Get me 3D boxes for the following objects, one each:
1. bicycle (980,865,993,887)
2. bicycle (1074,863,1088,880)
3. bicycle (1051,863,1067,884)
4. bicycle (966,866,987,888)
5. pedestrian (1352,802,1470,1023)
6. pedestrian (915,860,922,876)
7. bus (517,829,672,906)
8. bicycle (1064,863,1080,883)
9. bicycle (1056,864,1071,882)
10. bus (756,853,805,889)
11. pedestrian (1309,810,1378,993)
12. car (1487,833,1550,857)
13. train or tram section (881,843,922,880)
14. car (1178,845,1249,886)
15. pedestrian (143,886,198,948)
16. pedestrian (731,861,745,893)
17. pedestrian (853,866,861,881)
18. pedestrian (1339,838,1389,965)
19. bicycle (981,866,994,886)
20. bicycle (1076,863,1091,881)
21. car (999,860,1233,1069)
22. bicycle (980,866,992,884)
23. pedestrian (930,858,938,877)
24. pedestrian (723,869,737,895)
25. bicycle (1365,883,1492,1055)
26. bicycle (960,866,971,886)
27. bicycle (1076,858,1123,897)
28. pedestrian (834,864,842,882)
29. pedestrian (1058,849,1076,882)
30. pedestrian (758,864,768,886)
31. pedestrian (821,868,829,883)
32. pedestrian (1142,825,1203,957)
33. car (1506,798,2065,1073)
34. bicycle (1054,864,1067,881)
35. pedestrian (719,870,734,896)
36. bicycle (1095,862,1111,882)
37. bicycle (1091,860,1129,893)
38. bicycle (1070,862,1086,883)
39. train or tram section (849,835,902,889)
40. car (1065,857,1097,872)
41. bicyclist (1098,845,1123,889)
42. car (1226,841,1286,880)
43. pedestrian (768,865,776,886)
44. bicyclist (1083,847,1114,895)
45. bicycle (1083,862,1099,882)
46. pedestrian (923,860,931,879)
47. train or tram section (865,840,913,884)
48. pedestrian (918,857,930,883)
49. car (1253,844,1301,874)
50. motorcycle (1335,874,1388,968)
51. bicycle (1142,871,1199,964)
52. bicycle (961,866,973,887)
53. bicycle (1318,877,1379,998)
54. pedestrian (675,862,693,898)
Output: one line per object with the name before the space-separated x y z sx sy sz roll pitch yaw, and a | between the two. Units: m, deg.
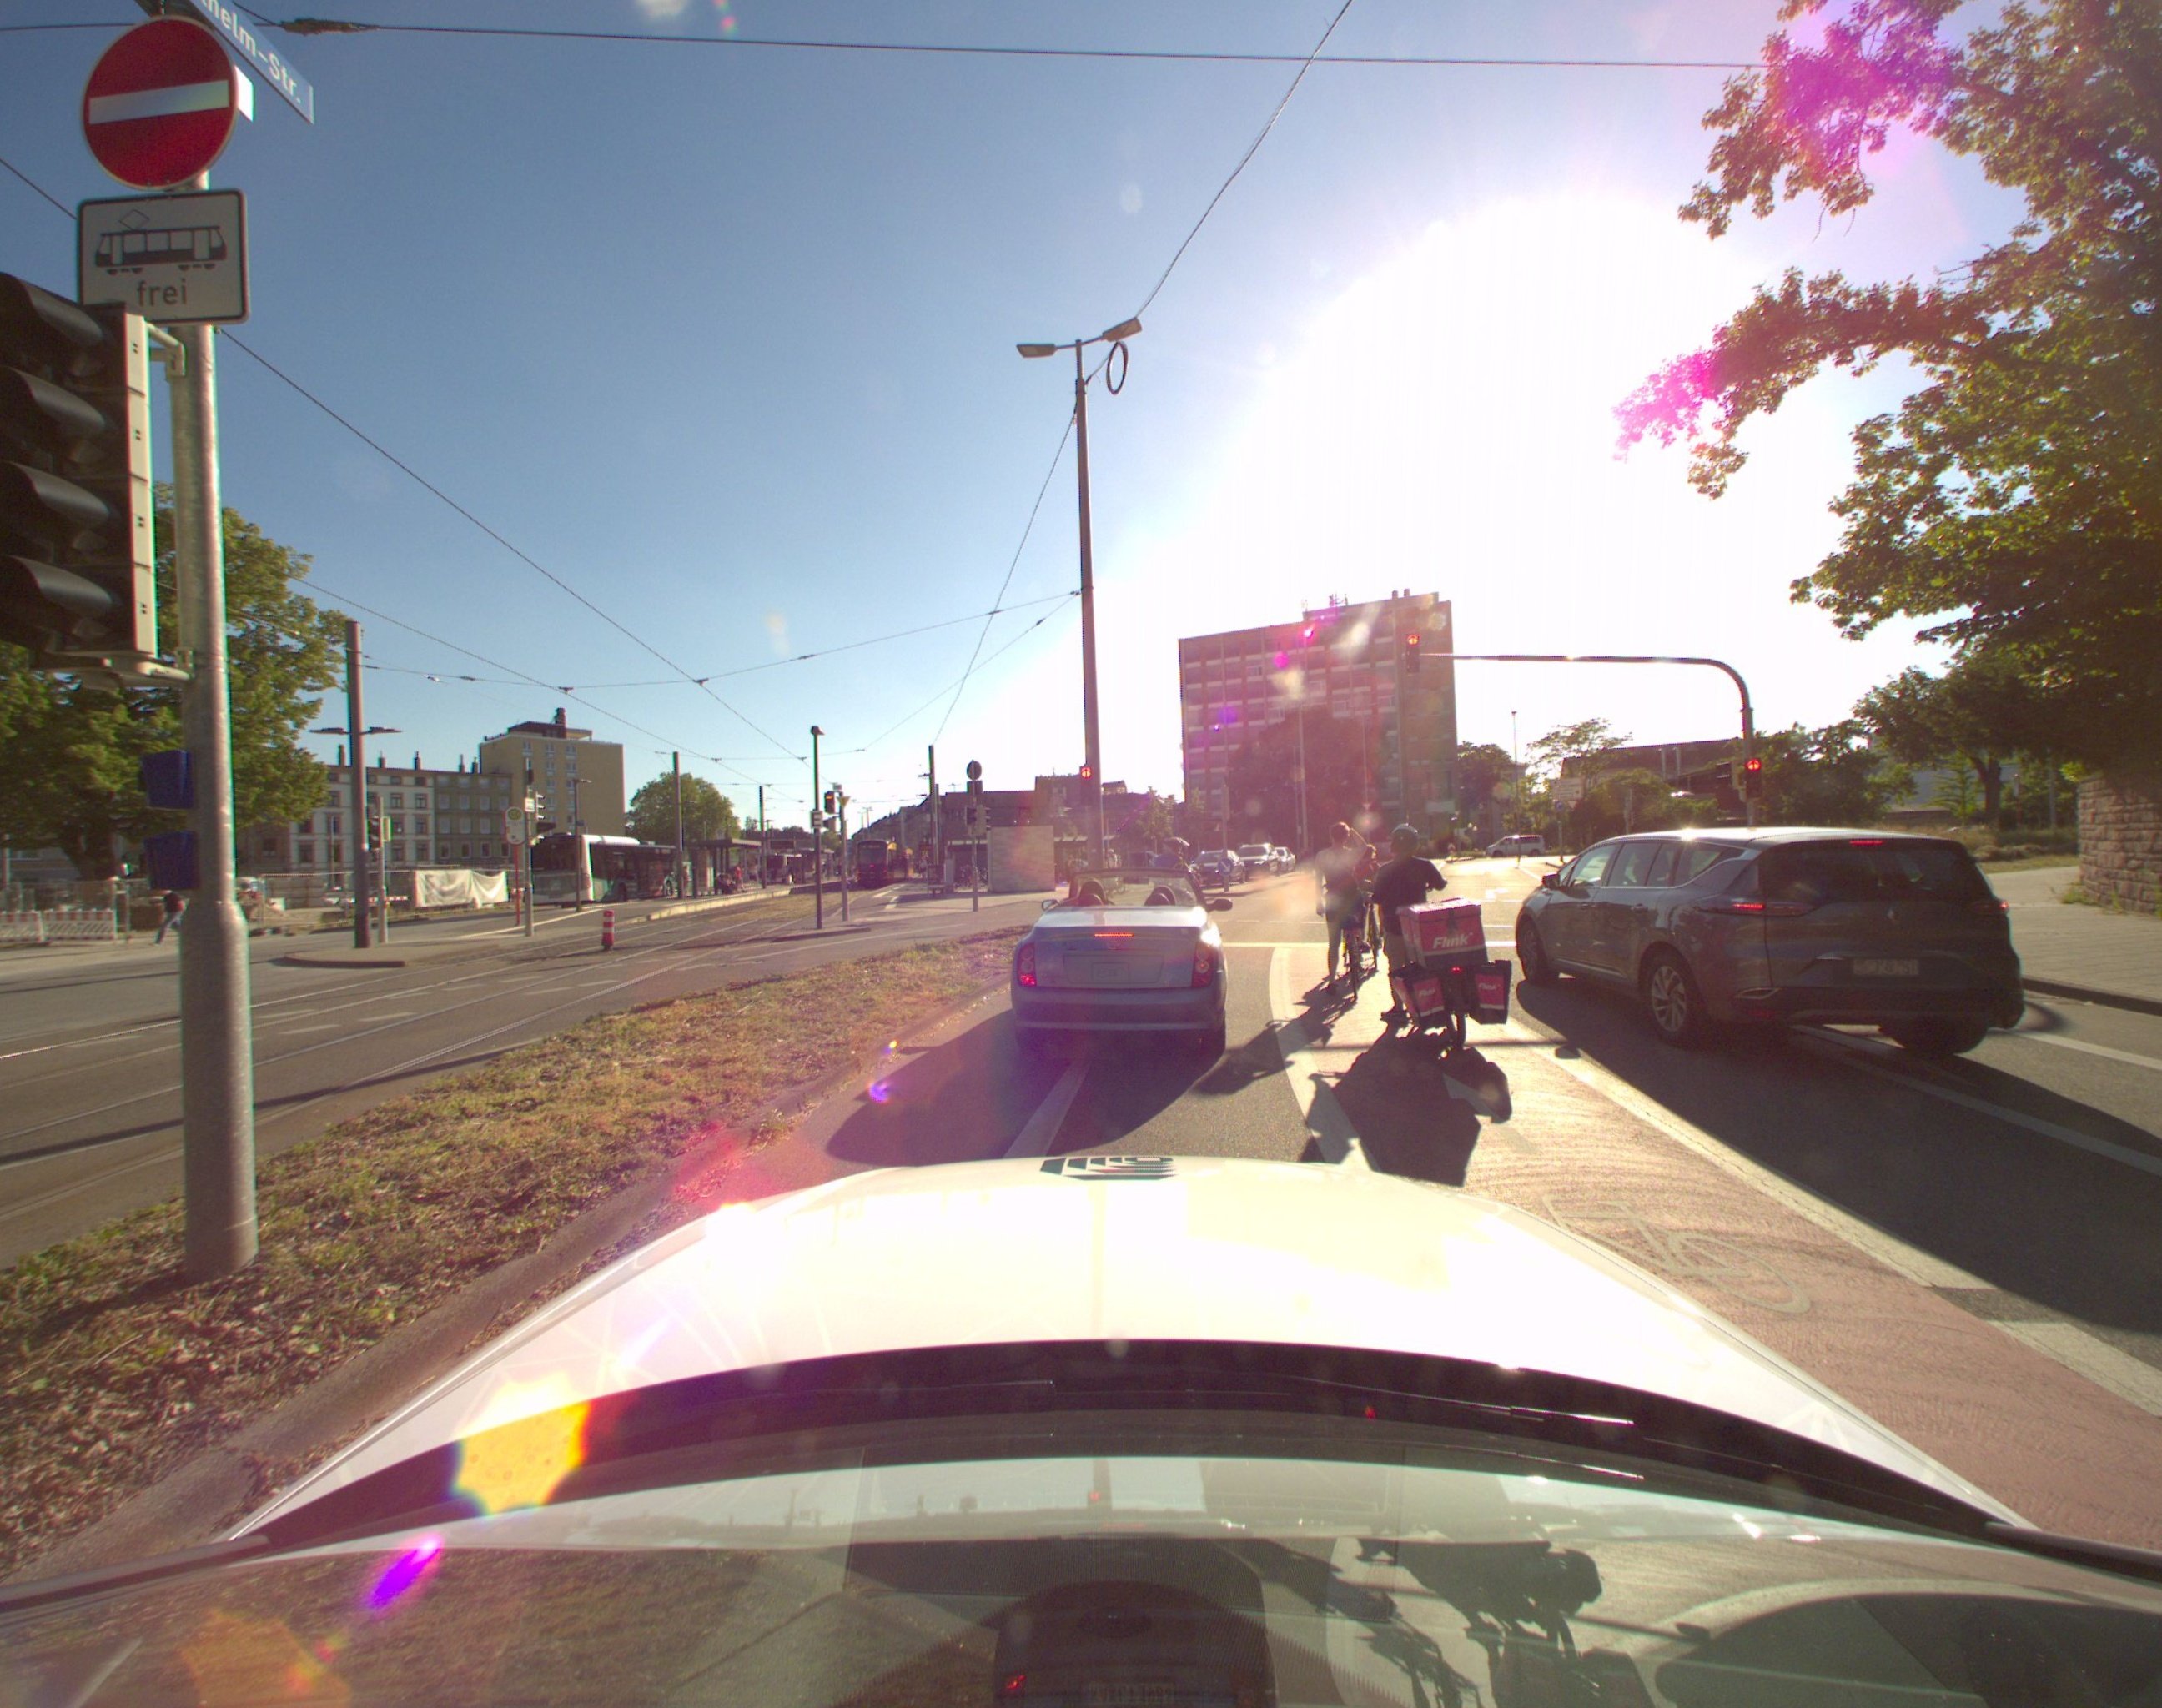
bicycle | -5.177 1.194 44.666 0.607 1.115 1.890 0 -1 -10
bicycle | -0.030 1.133 53.392 0.607 1.115 1.890 0 -1 -10
bicycle | -1.253 1.082 45.296 0.607 1.115 1.890 0 -1 -10
bicycle | -5.466 1.204 42.736 0.603 1.115 1.901 -1 -1 8
pedestrian | 2.977 0.503 7.448 0.801 1.869 0.959 -1 -1 10
pedestrian | -18.072 1.532 90.536 0.604 1.749 0.830 -2 -1 -6
bus | -22.371 0.574 38.223 2.652 3.135 9.617 0 -1 -8
bicycle | -0.542 1.093 47.353 0.607 1.115 1.890 0 -1 -10
bicycle | -1.104 1.164 51.241 0.607 1.115 1.890 0 -1 -10
bus | -29.668 1.589 80.948 2.723 3.274 13.409 0 -1 -12
pedestrian | 2.836 0.491 8.839 0.654 1.869 0.876 -1 -1 17
car | 38.701 -0.788 72.158 4.651 1.945 1.925 -3 0 20
train or tram section | -18.601 0.814 85.229 3.037 3.597 12.021 0 0 -7
car | 5.547 0.469 33.643 1.720 1.574 3.948 -1 -1 28
pedestrian | -26.021 1.798 23.294 0.712 1.697 0.893 -3 -2 -25
pedestrian | -19.111 1.276 45.340 0.571 1.749 0.636 -2 -1 -15
pedestrian | -27.817 2.442 101.047 0.732 1.749 0.638 -2 -1 -6
pedestrian | 3.770 0.606 10.846 0.583 1.598 1.030 -1 -1 19
bicycle | -5.374 1.226 46.735 0.607 1.115 1.890 0 -1 -10
bicycle | 0.131 1.138 51.414 0.607 1.115 1.890 0 -1 -10
car | 0.549 0.783 7.797 1.650 1.441 4.164 -1 -1 9
bicycle | -5.901 1.288 50.625 0.607 1.115 1.890 0 -1 -10
pedestrian | -13.956 1.264 77.365 0.639 1.749 0.732 -2 -1 -17
pedestrian | -18.732 1.475 43.464 0.571 1.346 0.636 -2 -1 -15
bicycle | 2.934 0.874 7.095 0.550 1.171 2.380 -1 -1 12
bicycle | -6.560 1.251 46.294 0.606 1.115 1.891 0 -1 -8
bicycle | 0.675 0.812 28.970 0.668 1.250 2.471 -5 -1 24
pedestrian | -23.565 1.857 79.007 0.641 1.749 0.567 -2 -1 -25
pedestrian | -0.805 0.645 46.954 0.901 1.869 0.684 0 -1 -11
pedestrian | -25.616 1.682 65.547 0.641 1.749 0.567 -2 -1 -25
pedestrian | -31.330 2.612 99.571 0.732 1.749 0.638 -2 -1 -6
pedestrian | 1.369 0.527 12.058 0.828 1.869 0.923 -1 -1 10
car | 5.541 0.523 7.321 1.820 1.689 4.381 -1 -1 10
bicycle | -1.347 1.195 53.215 0.607 1.115 1.890 0 -1 -10
pedestrian | -18.603 1.522 42.777 0.617 1.340 0.438 -2 -1 -15
bicycle | 1.239 1.007 45.680 0.606 1.115 1.892 0 -1 -7
bicycle | 1.154 0.847 31.573 0.668 1.180 2.195 -3 0 24
bicycle | -0.179 1.016 45.412 0.607 1.115 1.890 0 -1 -10
train or tram section | -15.261 0.583 61.216 2.881 3.597 12.158 0 -1 -10
car | -0.030 1.177 88.864 1.653 1.560 3.559 -2 0 -37
bicyclist | 1.147 0.491 31.602 0.702 1.657 0.747 -3 -1 24
car | 8.574 0.287 39.663 1.745 1.706 4.557 -4 -1 26
pedestrian | -25.538 1.758 67.319 0.571 1.749 0.636 -2 -1 -17
bicyclist | 0.628 0.596 28.904 0.702 1.657 0.906 -5 -2 24
bicycle | 0.557 1.056 47.715 0.607 1.115 1.890 0 -1 -10
pedestrian | -14.518 1.428 76.847 0.639 1.749 0.732 -2 -1 -17
train or tram section | -17.066 0.706 73.258 3.010 3.597 12.165 0 -1 -8
pedestrian | -10.704 1.062 55.550 0.639 1.749 0.569 -2 -1 -17
car | 11.166 0.252 46.217 1.678 1.560 4.004 -3 0 28
motorcycle | 3.827 0.845 11.105 0.608 1.097 2.371 -1 -1 19
bicycle | 1.358 0.866 11.988 0.604 1.191 2.422 -1 -1 12
bicycle | -6.212 1.233 44.360 0.607 1.115 1.890 0 -1 -10
bicycle | 2.933 0.852 9.023 0.559 1.151 1.958 -1 -1 17
pedestrian | -19.621 1.273 40.265 0.536 1.749 0.559 -2 -1 -4
